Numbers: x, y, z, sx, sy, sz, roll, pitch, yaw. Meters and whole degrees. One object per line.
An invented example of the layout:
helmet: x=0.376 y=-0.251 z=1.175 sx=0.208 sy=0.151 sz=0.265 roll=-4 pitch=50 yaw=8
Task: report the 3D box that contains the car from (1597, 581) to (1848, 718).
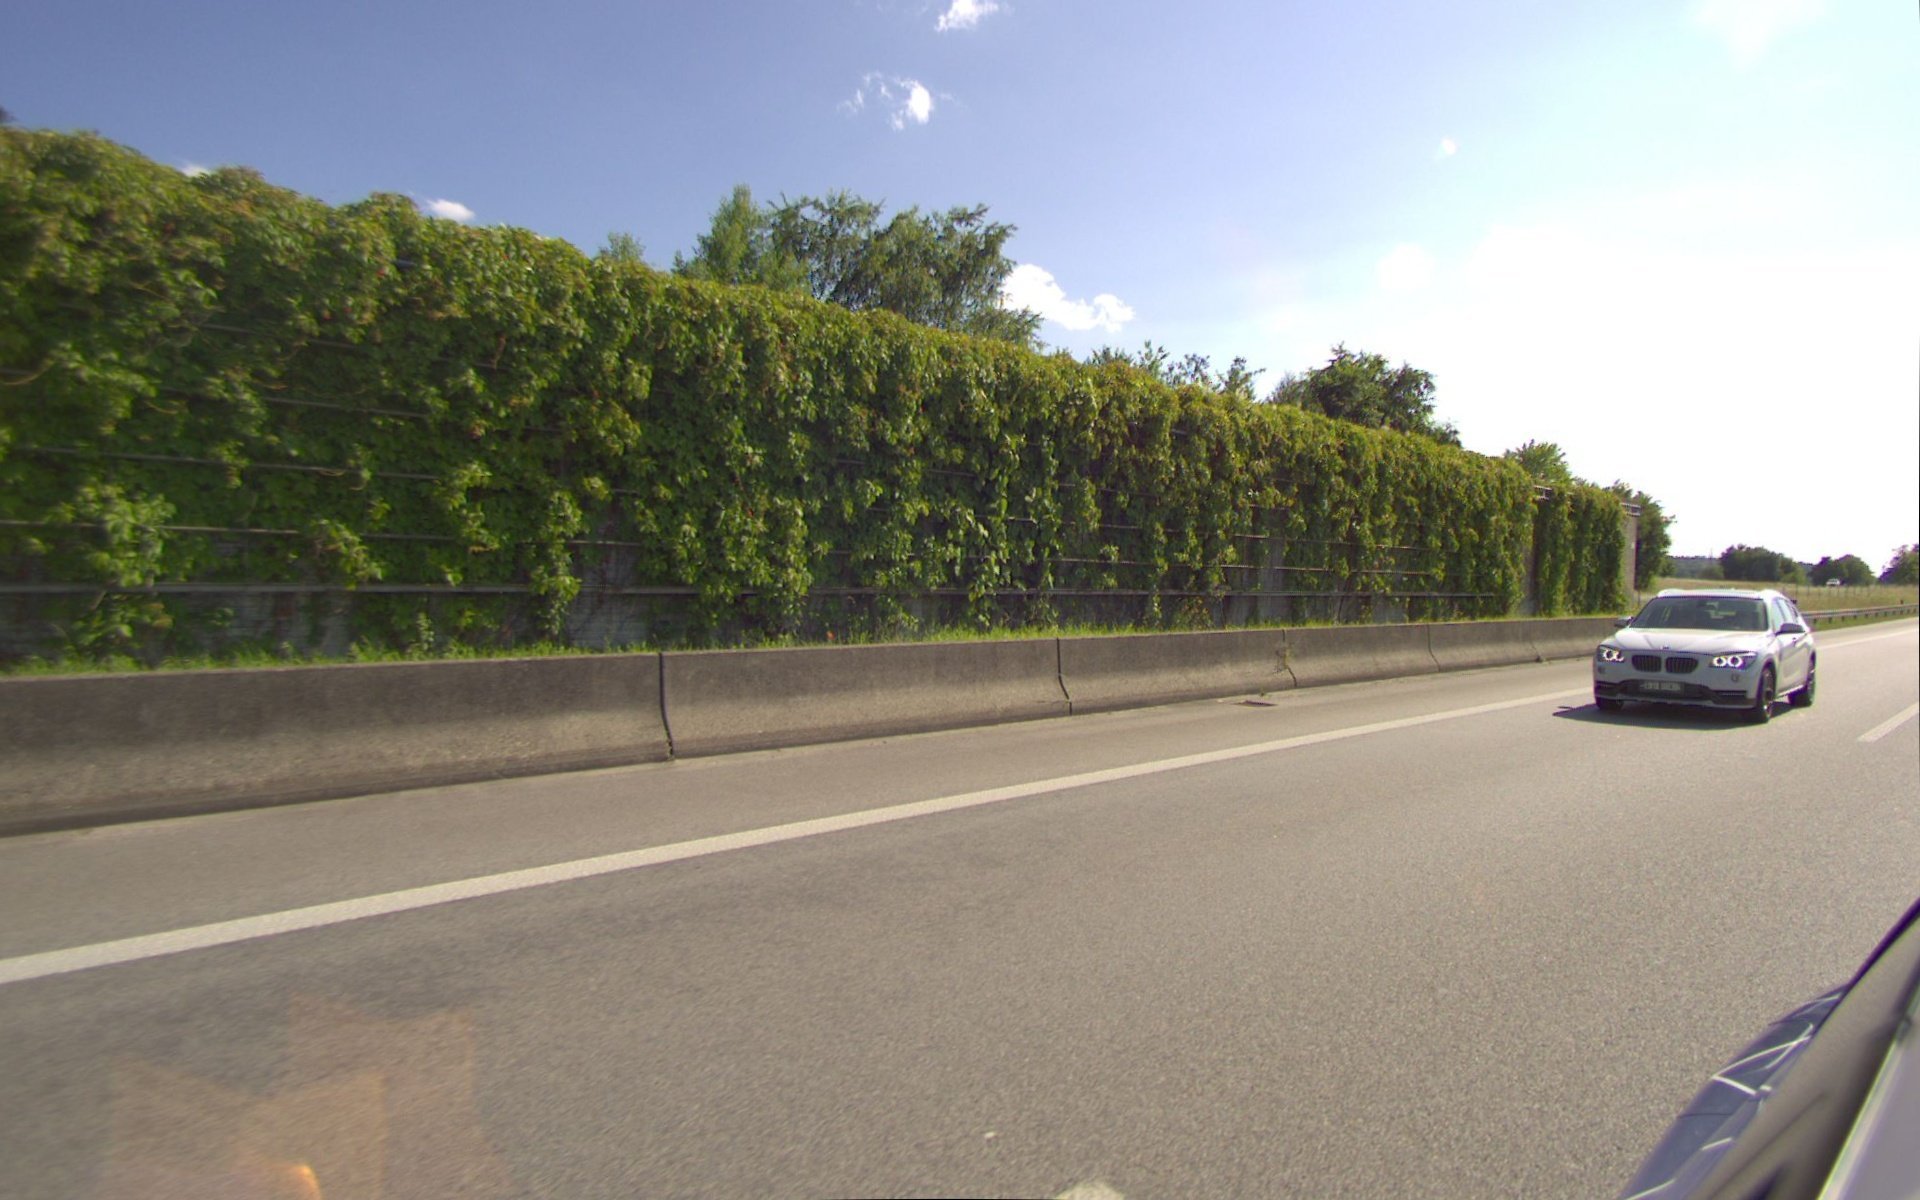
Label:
car: x=10.241 y=0.569 z=13.430 sx=4.900 sy=1.515 sz=1.687 roll=1 pitch=-1 yaw=-41
